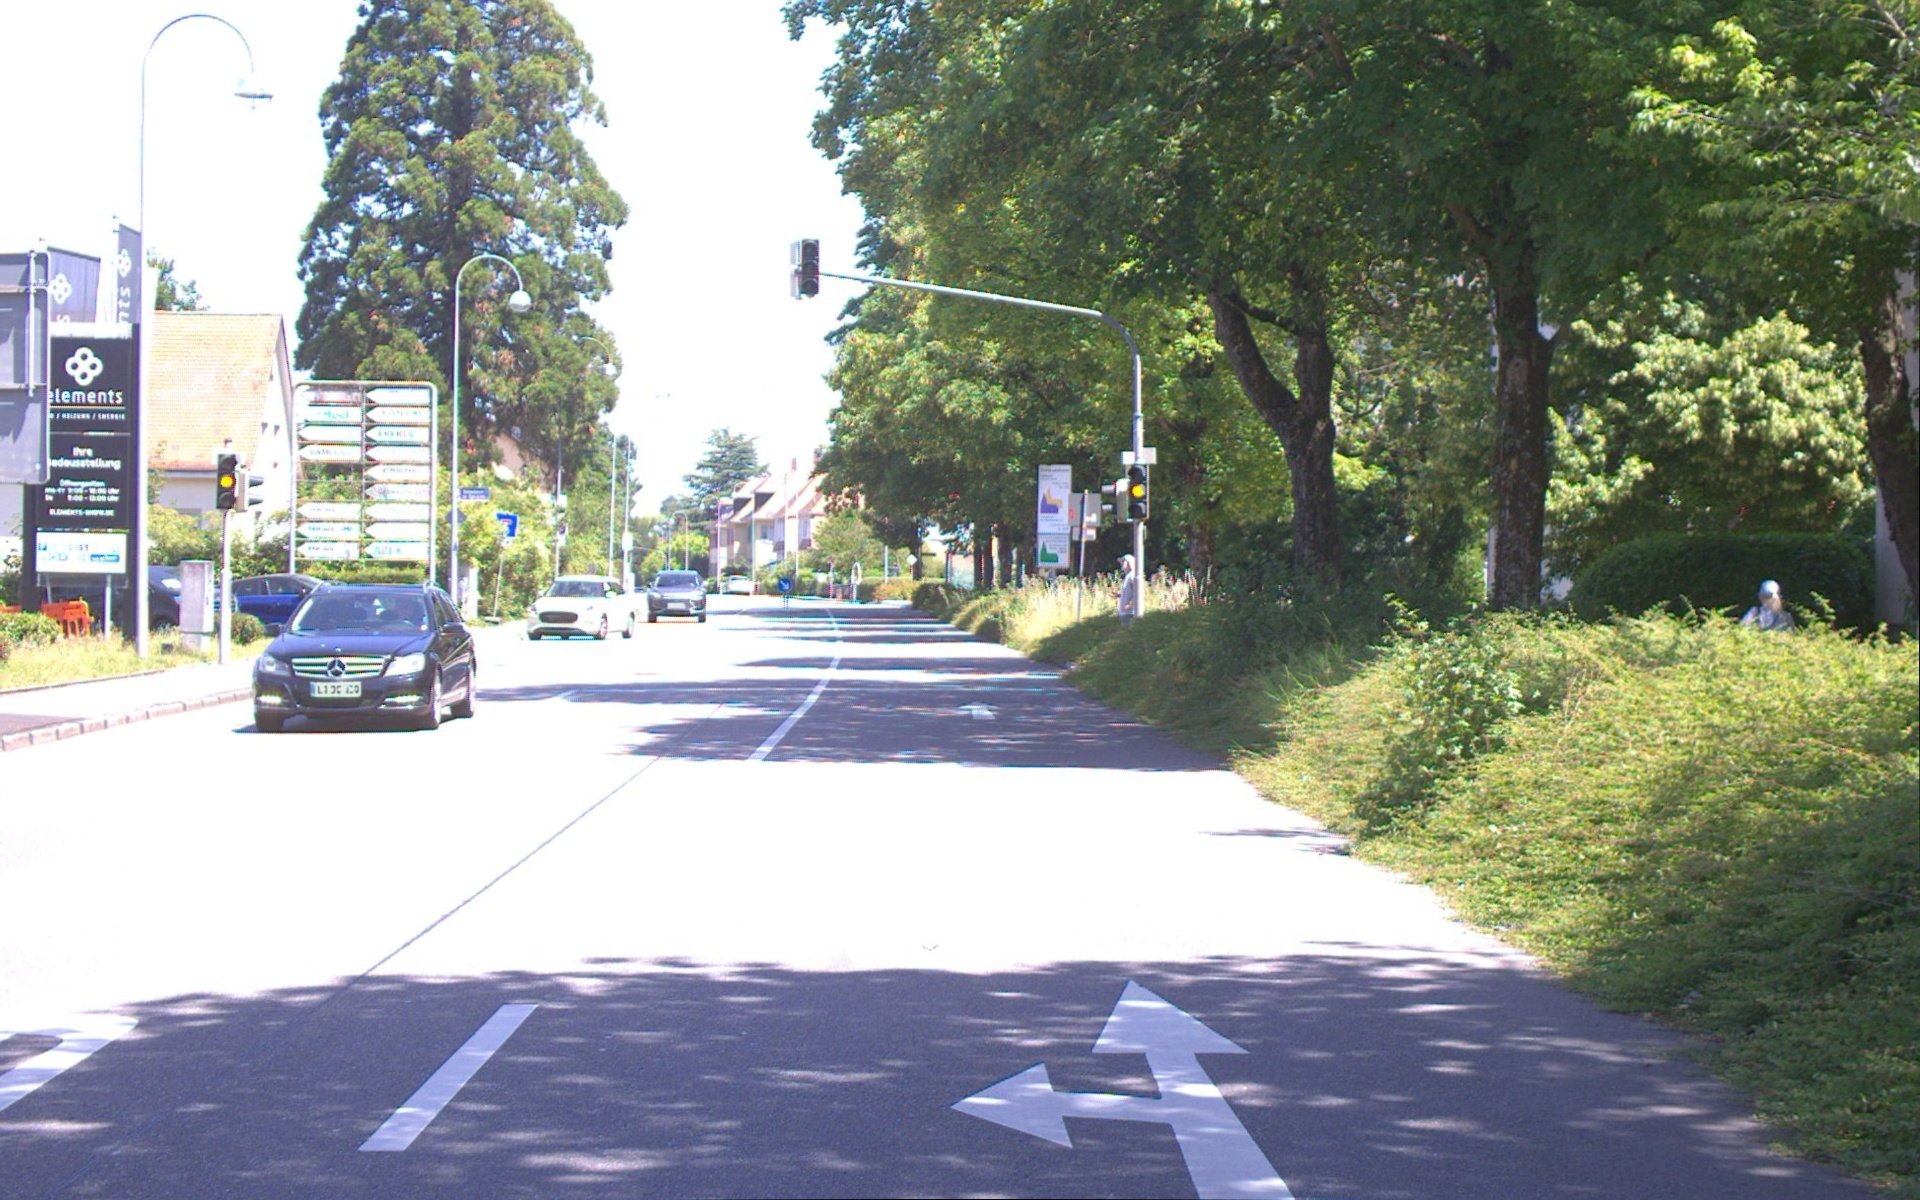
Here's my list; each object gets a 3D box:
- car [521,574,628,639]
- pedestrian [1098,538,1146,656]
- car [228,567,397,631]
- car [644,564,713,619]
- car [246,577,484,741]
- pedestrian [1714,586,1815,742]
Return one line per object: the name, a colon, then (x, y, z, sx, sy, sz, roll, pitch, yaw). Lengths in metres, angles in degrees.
car: (-8.962, 0.136, 80.222, 1.993, 1.482, 4.309, 0, 0, 0)
pedestrian: (2.408, -0.040, 51.180, 0.613, 1.745, 0.562, 1, 0, -8)
car: (-14.837, -0.025, 78.859, 3.492, 1.422, 1.600, 1, 0, 7)
car: (-8.982, -0.299, 110.061, 1.879, 1.712, 4.310, 0, 1, 0)
car: (-5.949, 0.549, 34.813, 1.710, 1.490, 4.278, 1, 1, -1)
pedestrian: (6.988, 0.548, 29.889, 0.661, 1.330, 0.889, 1, 0, 0)
